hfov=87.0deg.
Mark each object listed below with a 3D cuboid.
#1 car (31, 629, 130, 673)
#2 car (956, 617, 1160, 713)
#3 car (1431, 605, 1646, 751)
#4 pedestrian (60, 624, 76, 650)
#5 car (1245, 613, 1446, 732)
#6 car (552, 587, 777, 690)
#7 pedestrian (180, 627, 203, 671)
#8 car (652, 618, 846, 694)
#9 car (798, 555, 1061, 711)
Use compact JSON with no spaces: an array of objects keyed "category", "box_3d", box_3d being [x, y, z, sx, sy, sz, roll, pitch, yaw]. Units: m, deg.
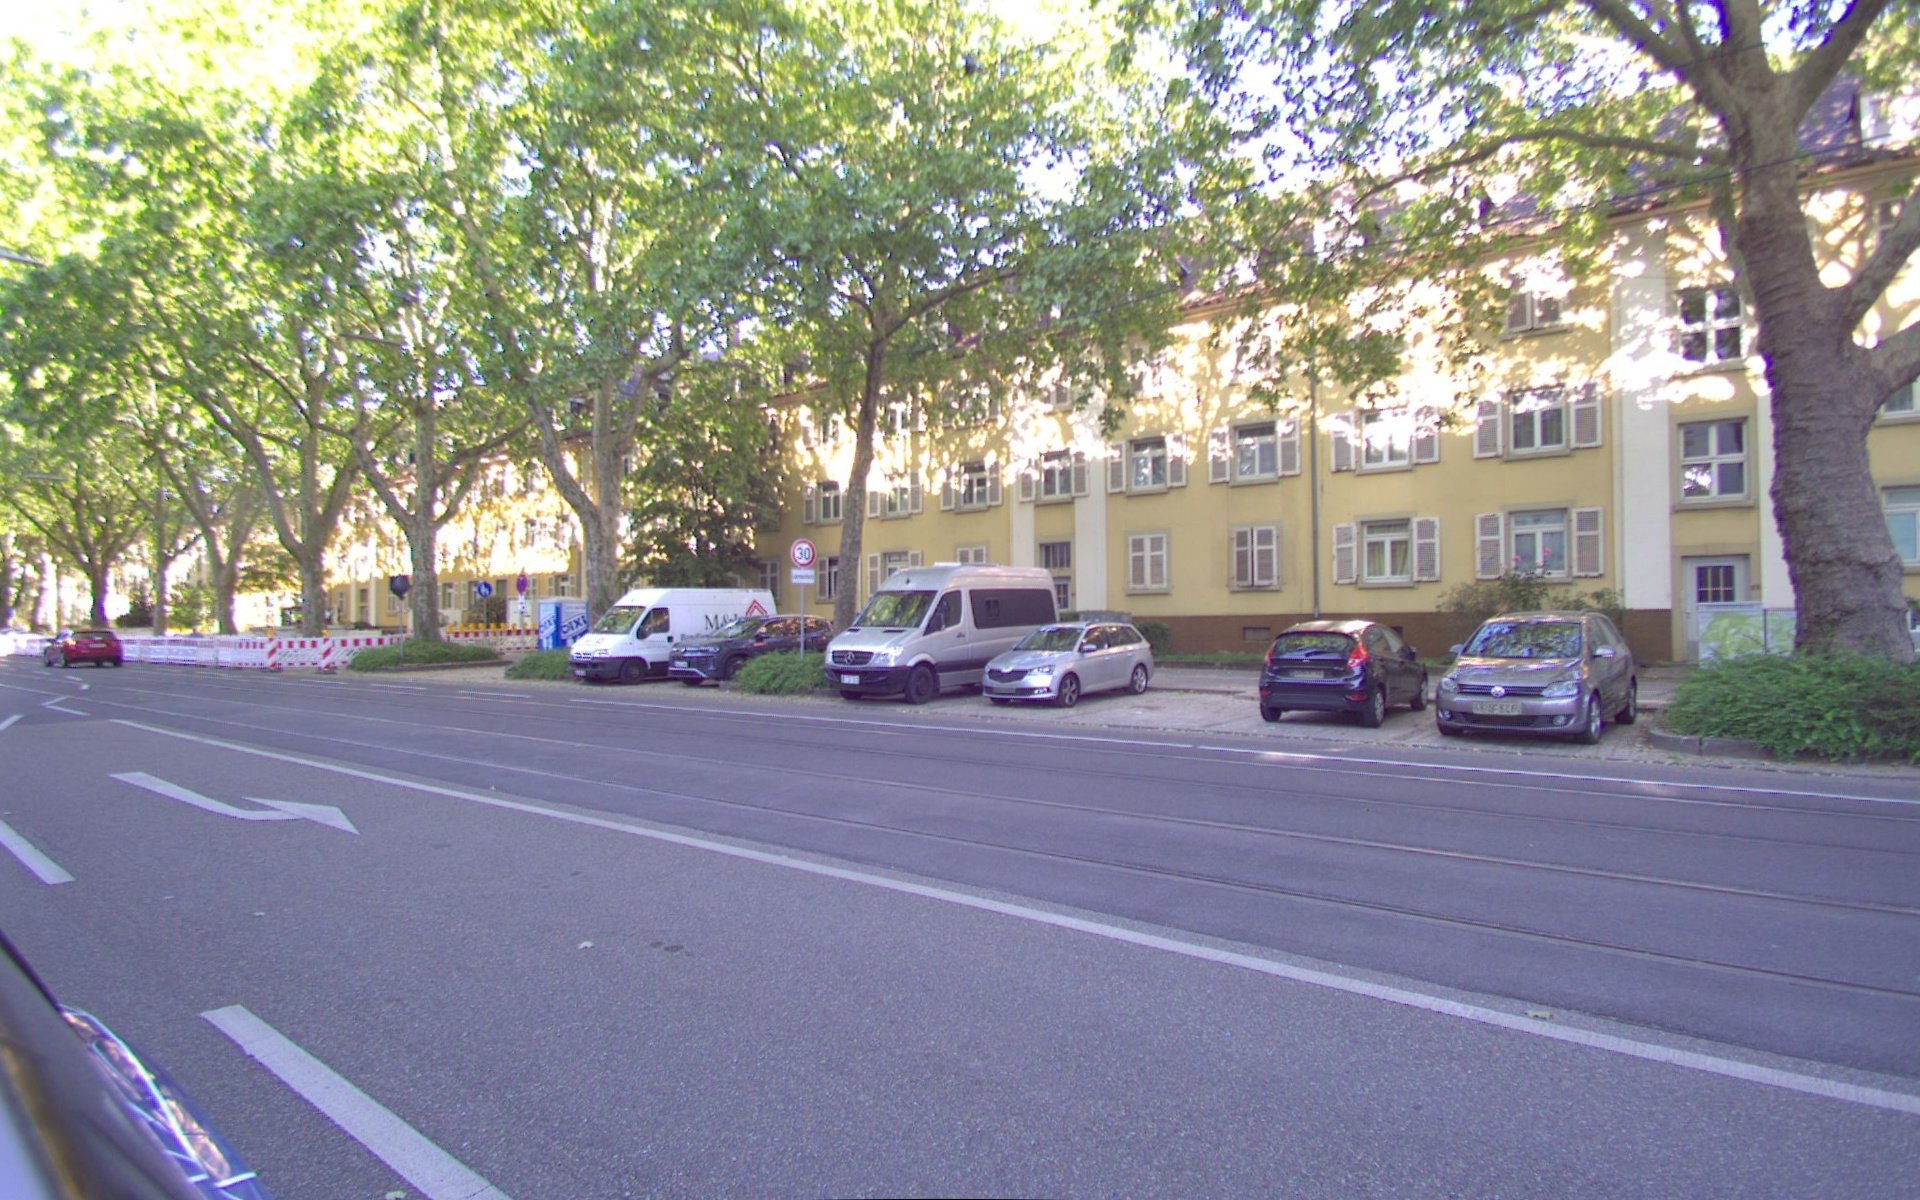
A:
[{"category":"car","box_3d":[-33.627,1.913,38.650,4.484,1.577,1.997,-2,-2,37]},{"category":"car","box_3d":[1.911,1.121,18.839,1.773,1.509,4.031,-2,-1,41]},{"category":"car","box_3d":[7.742,0.897,13.371,1.672,1.592,3.928,-2,-1,41]},{"category":"pedestrian","box_3d":[-66.110,2.740,74.991,0.720,1.900,0.667,-1,0,-26]},{"category":"car","box_3d":[5.965,1.000,15.422,1.671,1.509,3.756,-2,-1,41]},{"category":"car","box_3d":[-7.562,0.965,26.378,2.222,2.394,5.336,-2,-2,40]},{"category":"pedestrian","box_3d":[-31.234,1.994,41.144,0.583,1.759,0.643,-1,0,42]},{"category":"car","box_3d":[-4.980,1.277,24.452,1.772,1.664,4.570,-2,-2,38]},{"category":"car","box_3d":[-0.428,0.609,20.451,2.221,2.702,5.596,-2,-1,38]}]
